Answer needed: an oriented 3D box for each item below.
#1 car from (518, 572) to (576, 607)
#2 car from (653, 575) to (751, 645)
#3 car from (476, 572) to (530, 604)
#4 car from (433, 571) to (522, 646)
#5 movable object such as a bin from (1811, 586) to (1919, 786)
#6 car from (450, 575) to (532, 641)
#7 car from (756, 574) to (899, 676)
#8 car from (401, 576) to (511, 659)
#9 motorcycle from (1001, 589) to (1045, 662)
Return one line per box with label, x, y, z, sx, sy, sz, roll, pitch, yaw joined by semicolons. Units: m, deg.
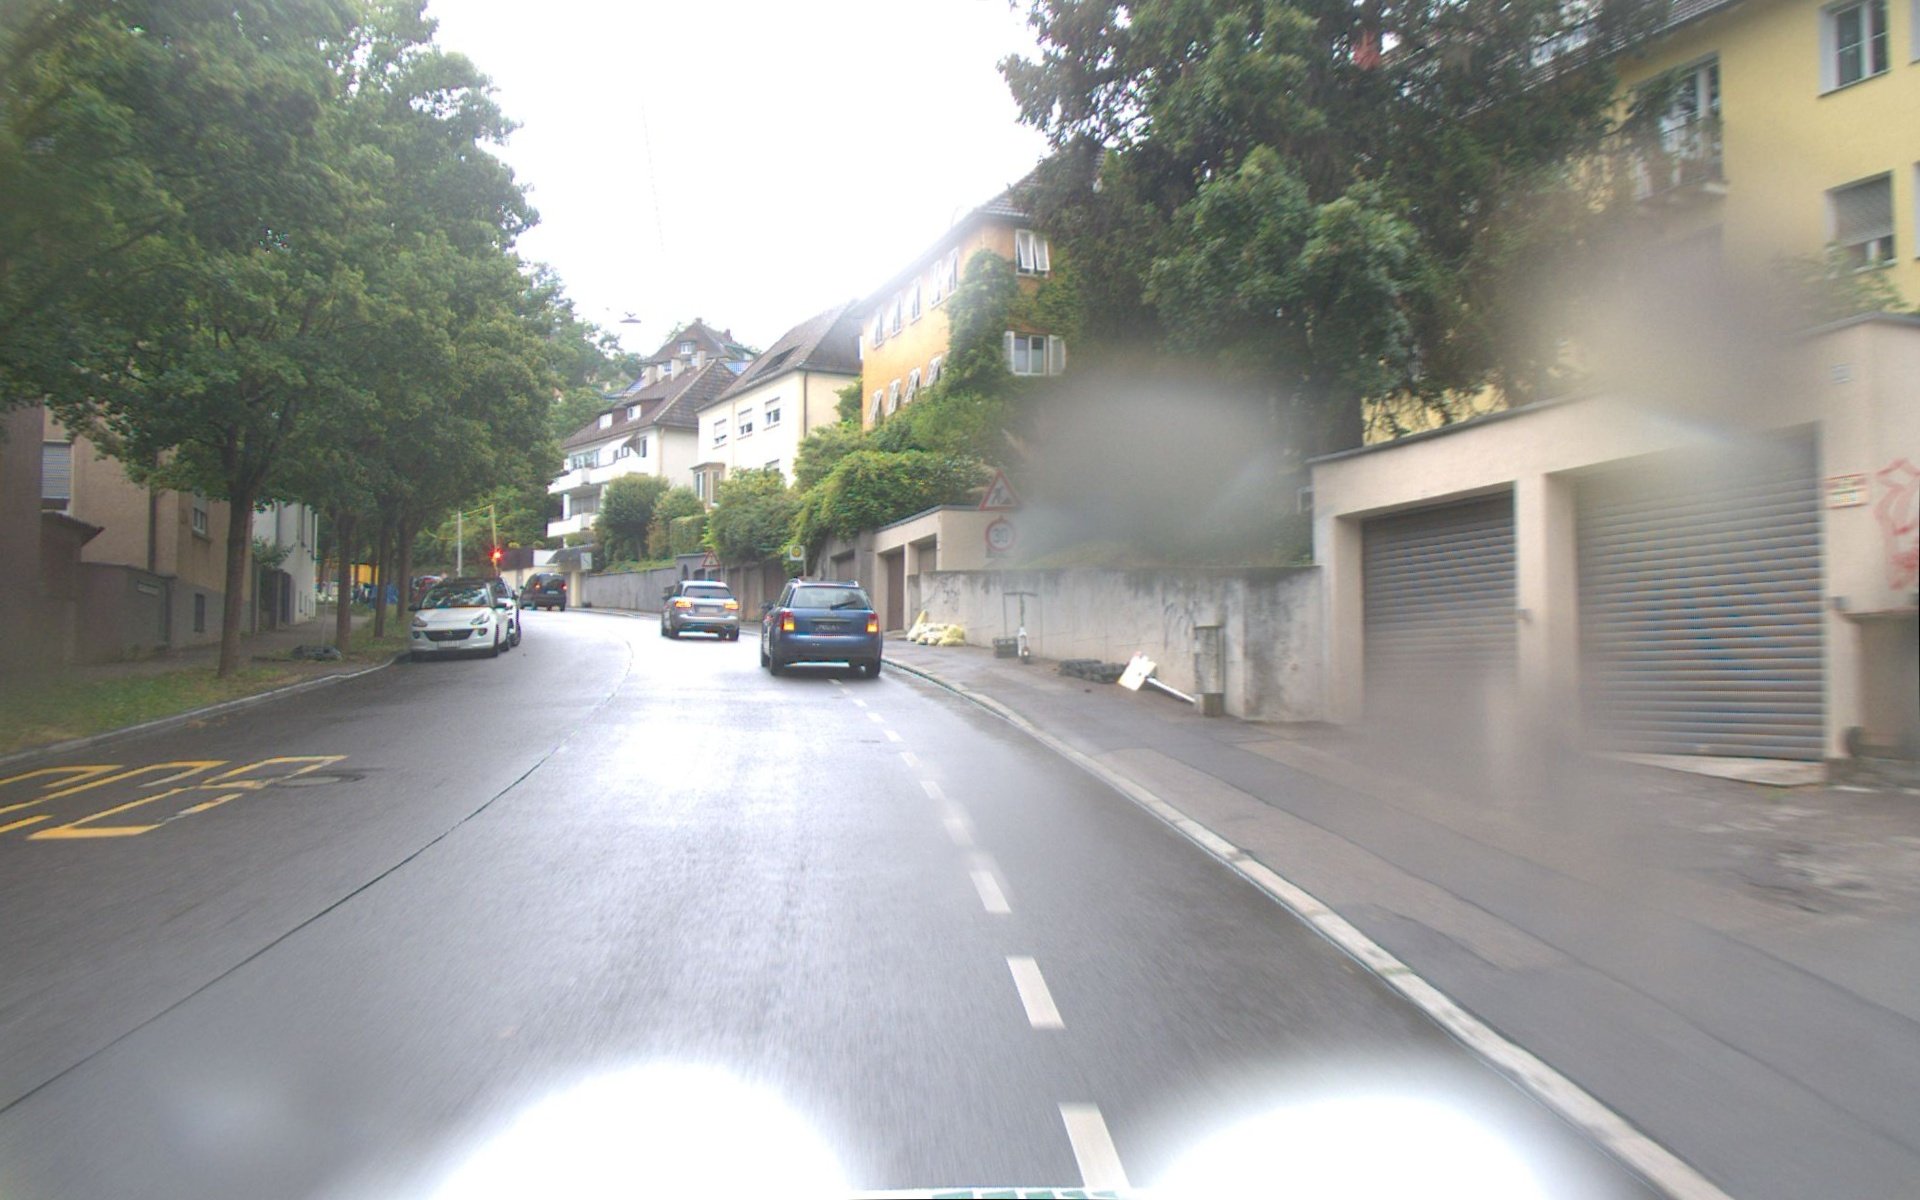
car;-20.922;-0.517;83.672;1.971;1.713;3.964;-1;1;-28
car;-6.779;0.211;43.120;1.919;1.588;4.243;0;2;-18
car;-25.338;-0.649;91.622;1.973;1.713;3.960;-1;1;-30
car;-11.170;0.177;38.478;1.847;1.624;3.984;-1;1;-15
movable object such as a bin;5.922;0.502;10.235;0.847;1.162;0.794;-2;0;-21
car;-12.396;0.205;43.784;1.961;1.601;3.983;-2;0;-16
car;-2.224;0.370;26.645;1.821;1.438;4.350;-2;0;-11
car;-10.198;0.324;33.696;1.961;1.556;3.984;-1;1;-15
motorcycle;1.033;0.406;27.424;0.537;1.151;1.439;-1;0;-5
